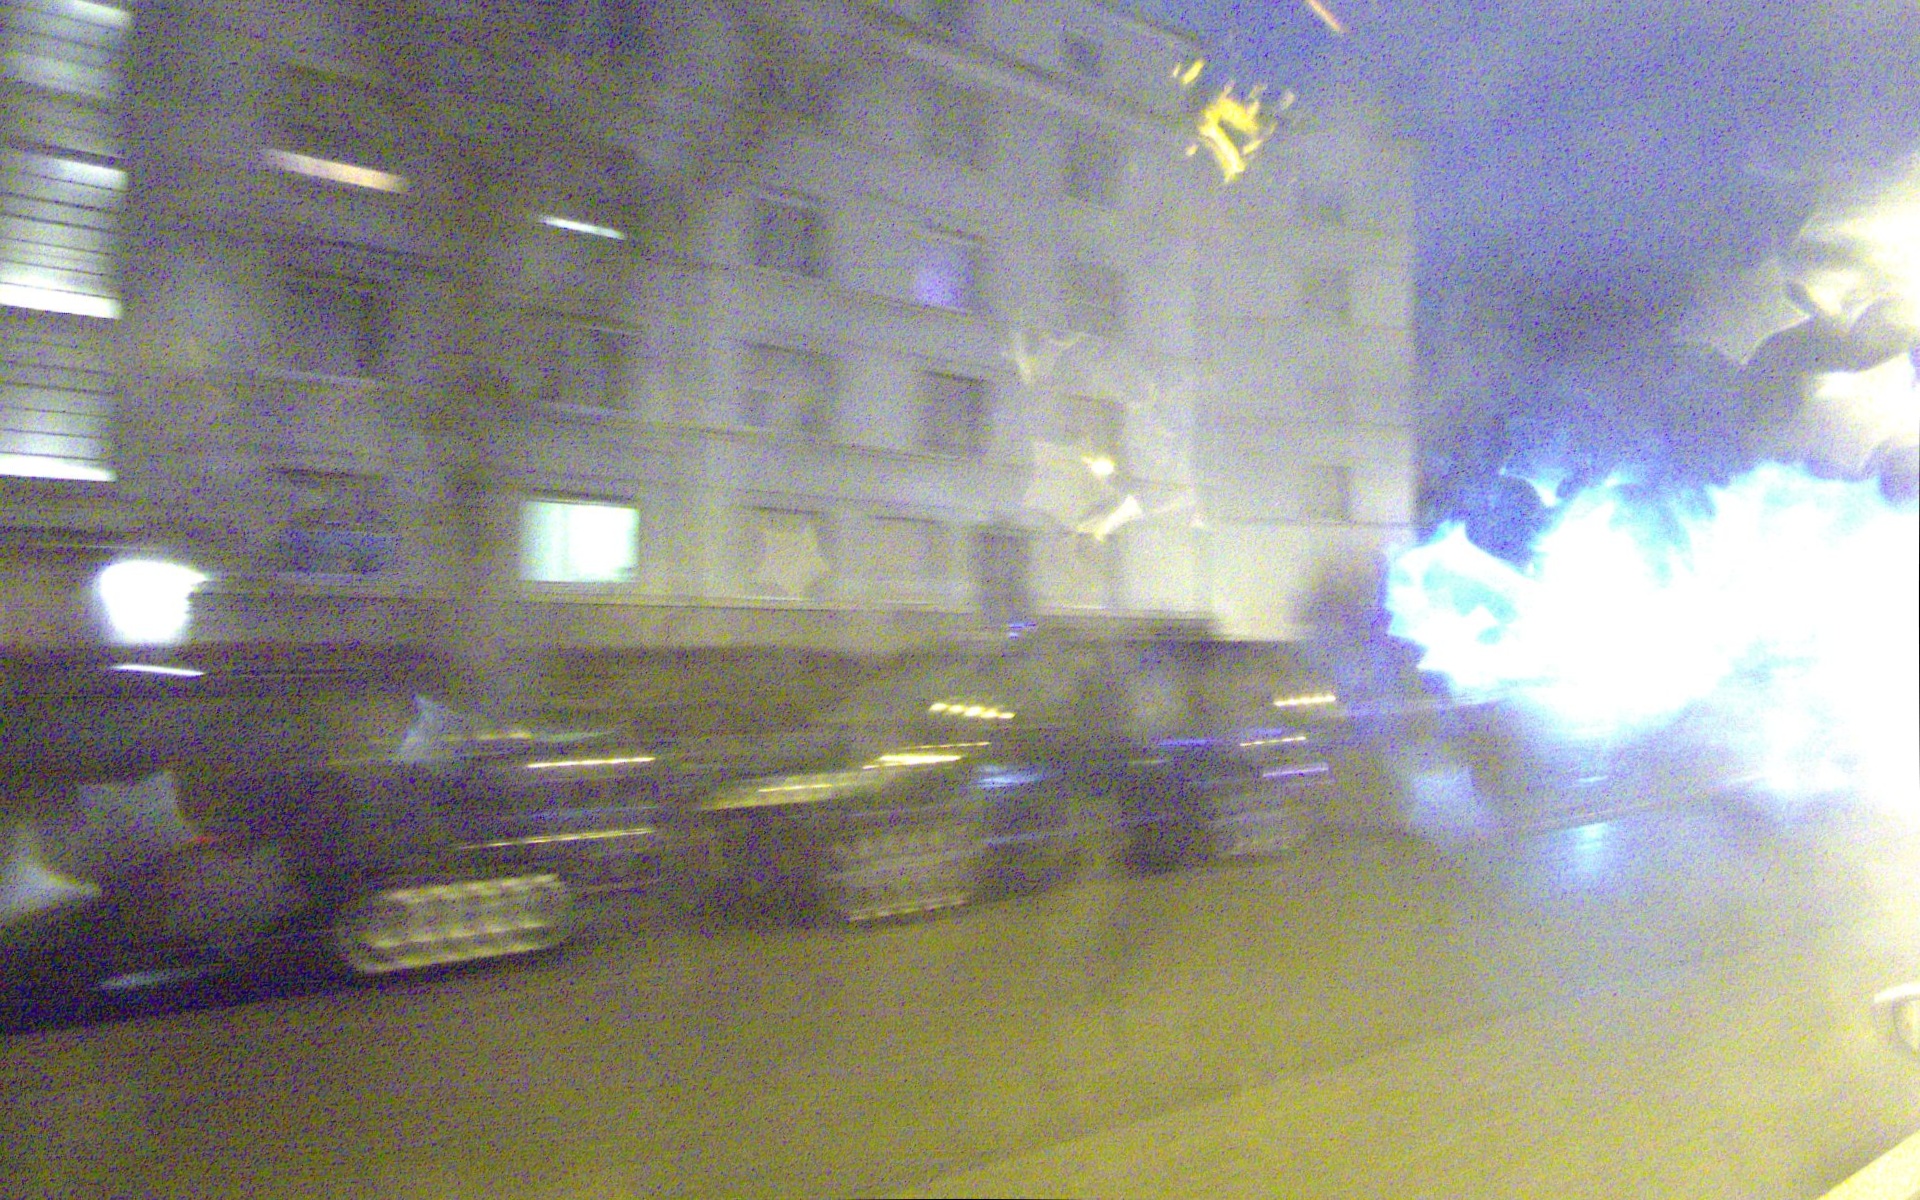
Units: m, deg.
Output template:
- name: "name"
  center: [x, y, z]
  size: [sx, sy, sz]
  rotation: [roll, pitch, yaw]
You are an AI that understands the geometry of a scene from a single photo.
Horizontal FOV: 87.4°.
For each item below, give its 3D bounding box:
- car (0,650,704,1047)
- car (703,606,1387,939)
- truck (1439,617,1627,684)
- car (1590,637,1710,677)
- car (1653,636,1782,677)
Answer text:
- name: "car"
  center: [-3.479, 0.957, 4.456]
  size: [4.302, 1.390, 1.592]
  rotation: [1, -5, -30]
- name: "car"
  center: [0.672, 0.933, 6.597]
  size: [4.327, 1.584, 1.592]
  rotation: [1, -5, -30]
- name: "truck"
  center: [18.482, 1.607, 32.493]
  size: [5.170, 2.040, 2.126]
  rotation: [0, -2, -12]
- name: "car"
  center: [27.394, 2.258, 39.929]
  size: [3.849, 1.540, 1.716]
  rotation: [1, -2, -11]
- name: "car"
  center: [28.330, 2.099, 37.597]
  size: [3.849, 1.450, 1.716]
  rotation: [1, -2, -11]
